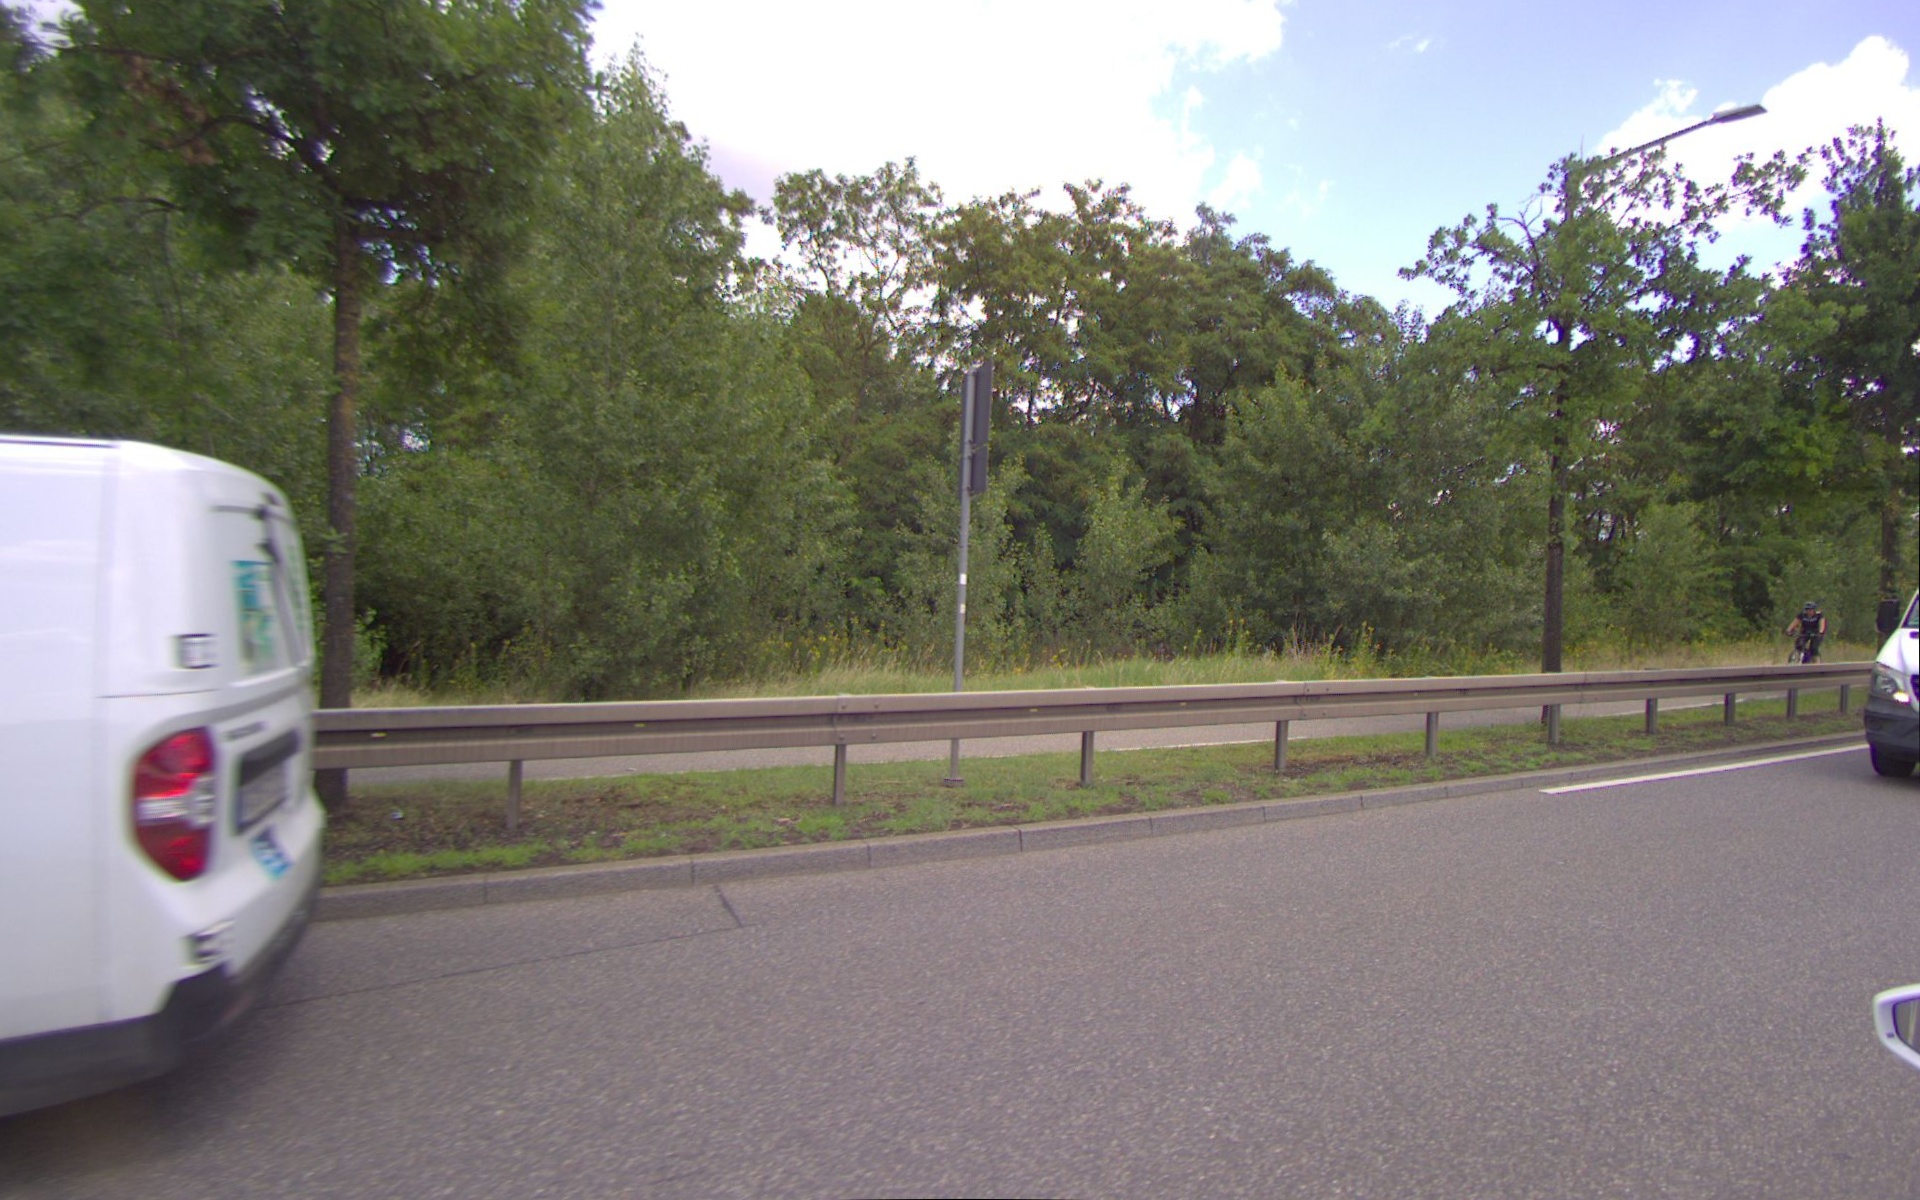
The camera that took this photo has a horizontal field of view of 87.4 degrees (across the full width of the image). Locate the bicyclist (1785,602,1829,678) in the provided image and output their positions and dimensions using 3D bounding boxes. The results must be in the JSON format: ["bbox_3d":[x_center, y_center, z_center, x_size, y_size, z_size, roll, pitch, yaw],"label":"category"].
[{"bbox_3d":[18.047,0.848,21.395,0.871,1.573,0.482,1,-1,-32],"label":"bicyclist"}]

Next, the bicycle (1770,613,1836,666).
[{"bbox_3d":[17.872,0.836,21.287,1.734,1.077,0.553,1,0,-32],"label":"bicycle"}]

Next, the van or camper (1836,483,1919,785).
[{"bbox_3d":[11.091,0.349,9.839,5.911,2.616,1.984,1,1,-31],"label":"van or camper"}]

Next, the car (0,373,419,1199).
[{"bbox_3d":[-4.230,0.411,2.233,5.195,1.892,1.770,1,-1,-25],"label":"car"}]
